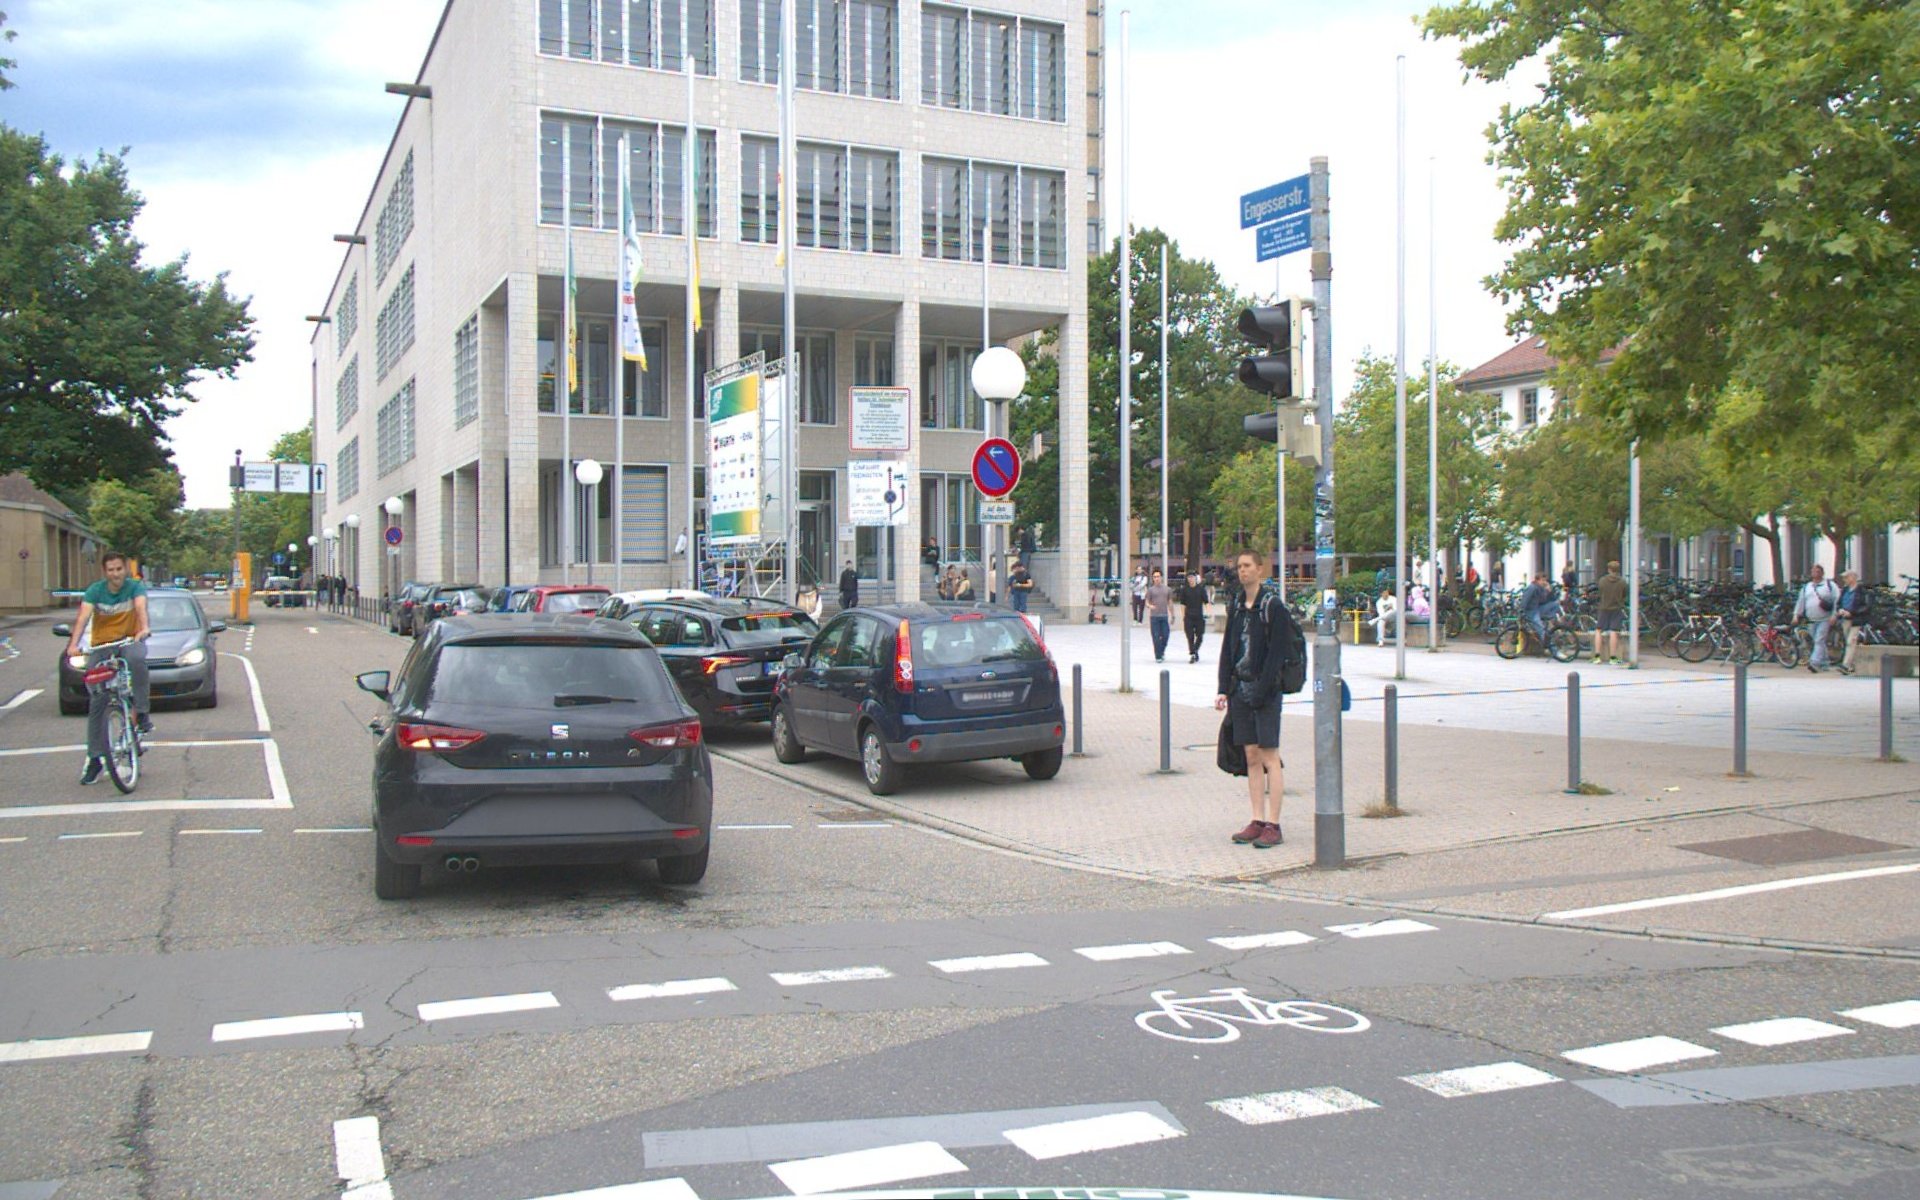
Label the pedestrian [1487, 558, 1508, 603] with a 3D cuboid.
[{"bbox_3d":[20.190,-0.722,62.158,0.647,1.669,0.665,0,0,27],"label":"pedestrian"}]

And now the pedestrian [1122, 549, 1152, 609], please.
[{"bbox_3d":[5.064,-0.602,47.264,0.719,1.669,0.932,3,2,10],"label":"pedestrian"}]

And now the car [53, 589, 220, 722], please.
[{"bbox_3d":[-10.536,0.627,21.381,1.760,1.523,4.136,0,1,-24],"label":"car"}]

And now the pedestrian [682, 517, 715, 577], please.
[{"bbox_3d":[-7.549,-1.533,47.704,0.788,1.687,0.631,2,2,0],"label":"pedestrian"}]

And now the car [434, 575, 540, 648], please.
[{"bbox_3d":[-11.050,0.230,38.446,1.823,1.467,4.388,0,2,-23],"label":"car"}]

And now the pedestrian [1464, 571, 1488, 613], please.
[{"bbox_3d":[21.009,-0.331,67.399,0.652,1.669,0.660,0,0,-27],"label":"pedestrian"}]

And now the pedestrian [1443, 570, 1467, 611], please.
[{"bbox_3d":[20.457,-0.394,68.397,0.652,1.669,0.688,0,0,-27],"label":"pedestrian"}]

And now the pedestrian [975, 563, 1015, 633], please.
[{"bbox_3d":[0.913,-0.045,43.403,0.756,1.816,0.727,0,0,-38],"label":"pedestrian"}]

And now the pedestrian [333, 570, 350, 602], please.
[{"bbox_3d":[-34.014,-0.774,90.943,0.720,1.728,0.582,1,2,-30],"label":"pedestrian"}]

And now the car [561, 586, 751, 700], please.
[{"bbox_3d":[-4.467,0.555,23.868,1.836,1.478,3.829,0,1,-24],"label":"car"}]

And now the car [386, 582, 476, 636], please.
[{"bbox_3d":[-15.437,0.229,48.143,1.968,1.477,4.885,0,0,-24],"label":"car"}]

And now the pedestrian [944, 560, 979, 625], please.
[{"bbox_3d":[0.030,-0.210,44.679,0.766,1.745,0.599,-1,0,-24],"label":"pedestrian"}]

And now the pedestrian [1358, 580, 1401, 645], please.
[{"bbox_3d":[9.413,0.268,37.122,0.754,1.438,0.671,0,0,34],"label":"pedestrian"}]

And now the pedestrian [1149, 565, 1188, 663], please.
[{"bbox_3d":[4.011,0.268,31.907,0.628,1.839,0.648,2,2,3],"label":"pedestrian"}]

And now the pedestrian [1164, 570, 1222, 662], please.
[{"bbox_3d":[4.493,0.295,31.909,0.890,1.742,0.692,2,2,33],"label":"pedestrian"}]

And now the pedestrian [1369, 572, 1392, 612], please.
[{"bbox_3d":[17.605,-0.342,69.256,0.652,1.669,0.660,0,0,-27],"label":"pedestrian"}]

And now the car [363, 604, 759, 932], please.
[{"bbox_3d":[-2.573,0.792,9.876,1.757,1.444,4.103,1,1,-21],"label":"car"}]

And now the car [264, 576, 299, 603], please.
[{"bbox_3d":[-46.027,-0.729,112.192,1.968,1.813,4.393,-1,1,-25],"label":"car"}]

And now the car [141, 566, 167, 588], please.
[{"bbox_3d":[-63.186,-1.793,129.678,1.749,1.629,3.966,1,0,-26],"label":"car"}]

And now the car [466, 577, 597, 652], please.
[{"bbox_3d":[-8.824,0.256,33.813,1.675,1.436,4.337,-1,1,-27],"label":"car"}]

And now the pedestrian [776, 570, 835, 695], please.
[{"bbox_3d":[-2.299,0.473,24.510,0.777,1.819,0.819,0,0,-13],"label":"pedestrian"}]

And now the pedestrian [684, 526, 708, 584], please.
[{"bbox_3d":[-7.746,-1.325,48.616,0.617,1.687,0.806,2,2,-8],"label":"pedestrian"}]

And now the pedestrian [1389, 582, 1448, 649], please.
[{"bbox_3d":[10.081,0.331,36.366,0.843,1.445,0.957,0,0,-36],"label":"pedestrian"}]

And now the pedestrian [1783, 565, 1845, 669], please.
[{"bbox_3d":[14.538,0.283,28.170,0.661,1.745,0.675,0,0,-19],"label":"pedestrian"}]

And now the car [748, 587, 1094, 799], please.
[{"bbox_3d":[-0.503,0.683,14.523,1.601,1.528,4.075,-2,1,-23],"label":"car"}]

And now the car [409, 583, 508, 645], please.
[{"bbox_3d":[-13.047,0.319,42.870,1.795,1.468,4.484,-2,1,-25],"label":"car"}]

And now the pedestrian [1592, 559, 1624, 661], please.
[{"bbox_3d":[12.062,0.180,30.797,0.499,1.865,0.674,0,0,15],"label":"pedestrian"}]

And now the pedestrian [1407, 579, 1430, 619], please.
[{"bbox_3d":[18.886,-0.043,68.188,0.653,1.669,0.660,0,0,-28],"label":"pedestrian"}]

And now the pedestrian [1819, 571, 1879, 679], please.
[{"bbox_3d":[14.703,0.406,27.363,0.575,1.745,0.654,0,0,-19],"label":"pedestrian"}]

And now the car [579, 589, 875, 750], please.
[{"bbox_3d":[-2.732,0.663,18.451,1.840,1.426,4.437,-3,2,-28],"label":"car"}]

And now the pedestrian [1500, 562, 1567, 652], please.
[{"bbox_3d":[11.372,0.132,32.808,0.840,1.734,0.960,0,0,-28],"label":"pedestrian"}]

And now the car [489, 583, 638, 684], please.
[{"bbox_3d":[-6.849,0.504,28.315,1.690,1.499,4.241,-2,2,-24],"label":"car"}]

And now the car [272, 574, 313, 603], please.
[{"bbox_3d":[-39.107,-0.654,96.833,1.968,1.651,4.392,-1,0,-25],"label":"car"}]

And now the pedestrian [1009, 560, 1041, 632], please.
[{"bbox_3d":[1.720,-0.114,43.915,0.589,1.897,0.779,0,0,24],"label":"pedestrian"}]

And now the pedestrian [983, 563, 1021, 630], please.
[{"bbox_3d":[1.144,-0.102,44.924,0.714,1.816,0.727,0,0,-38],"label":"pedestrian"}]
